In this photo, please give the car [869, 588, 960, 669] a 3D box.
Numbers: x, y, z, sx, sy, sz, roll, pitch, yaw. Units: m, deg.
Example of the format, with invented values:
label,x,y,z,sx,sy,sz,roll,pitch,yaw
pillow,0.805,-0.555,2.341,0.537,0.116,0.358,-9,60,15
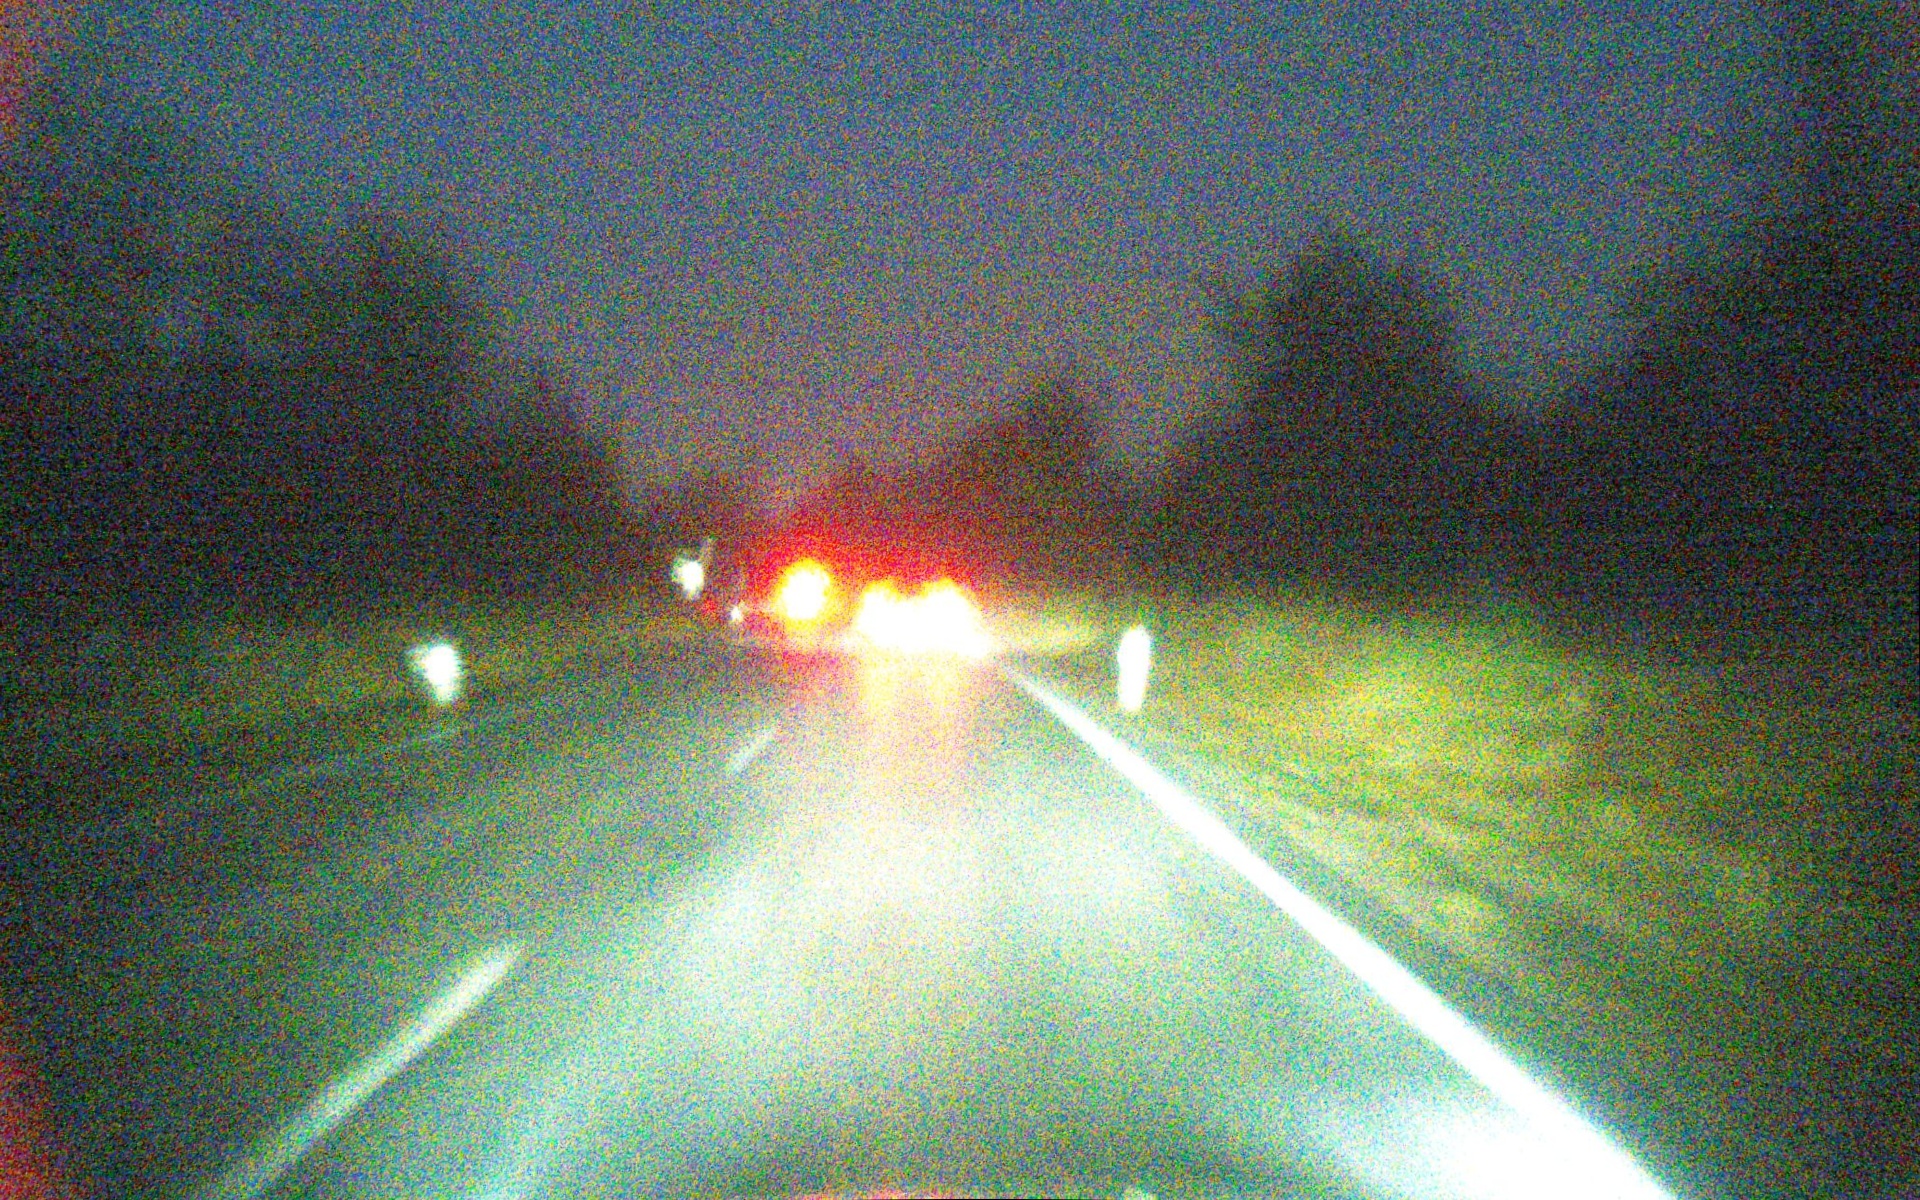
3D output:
label,x,y,z,sx,sy,sz,roll,pitch,yaw
car,-1.071,0.591,38.012,1.953,1.656,4.983,0,1,-2
